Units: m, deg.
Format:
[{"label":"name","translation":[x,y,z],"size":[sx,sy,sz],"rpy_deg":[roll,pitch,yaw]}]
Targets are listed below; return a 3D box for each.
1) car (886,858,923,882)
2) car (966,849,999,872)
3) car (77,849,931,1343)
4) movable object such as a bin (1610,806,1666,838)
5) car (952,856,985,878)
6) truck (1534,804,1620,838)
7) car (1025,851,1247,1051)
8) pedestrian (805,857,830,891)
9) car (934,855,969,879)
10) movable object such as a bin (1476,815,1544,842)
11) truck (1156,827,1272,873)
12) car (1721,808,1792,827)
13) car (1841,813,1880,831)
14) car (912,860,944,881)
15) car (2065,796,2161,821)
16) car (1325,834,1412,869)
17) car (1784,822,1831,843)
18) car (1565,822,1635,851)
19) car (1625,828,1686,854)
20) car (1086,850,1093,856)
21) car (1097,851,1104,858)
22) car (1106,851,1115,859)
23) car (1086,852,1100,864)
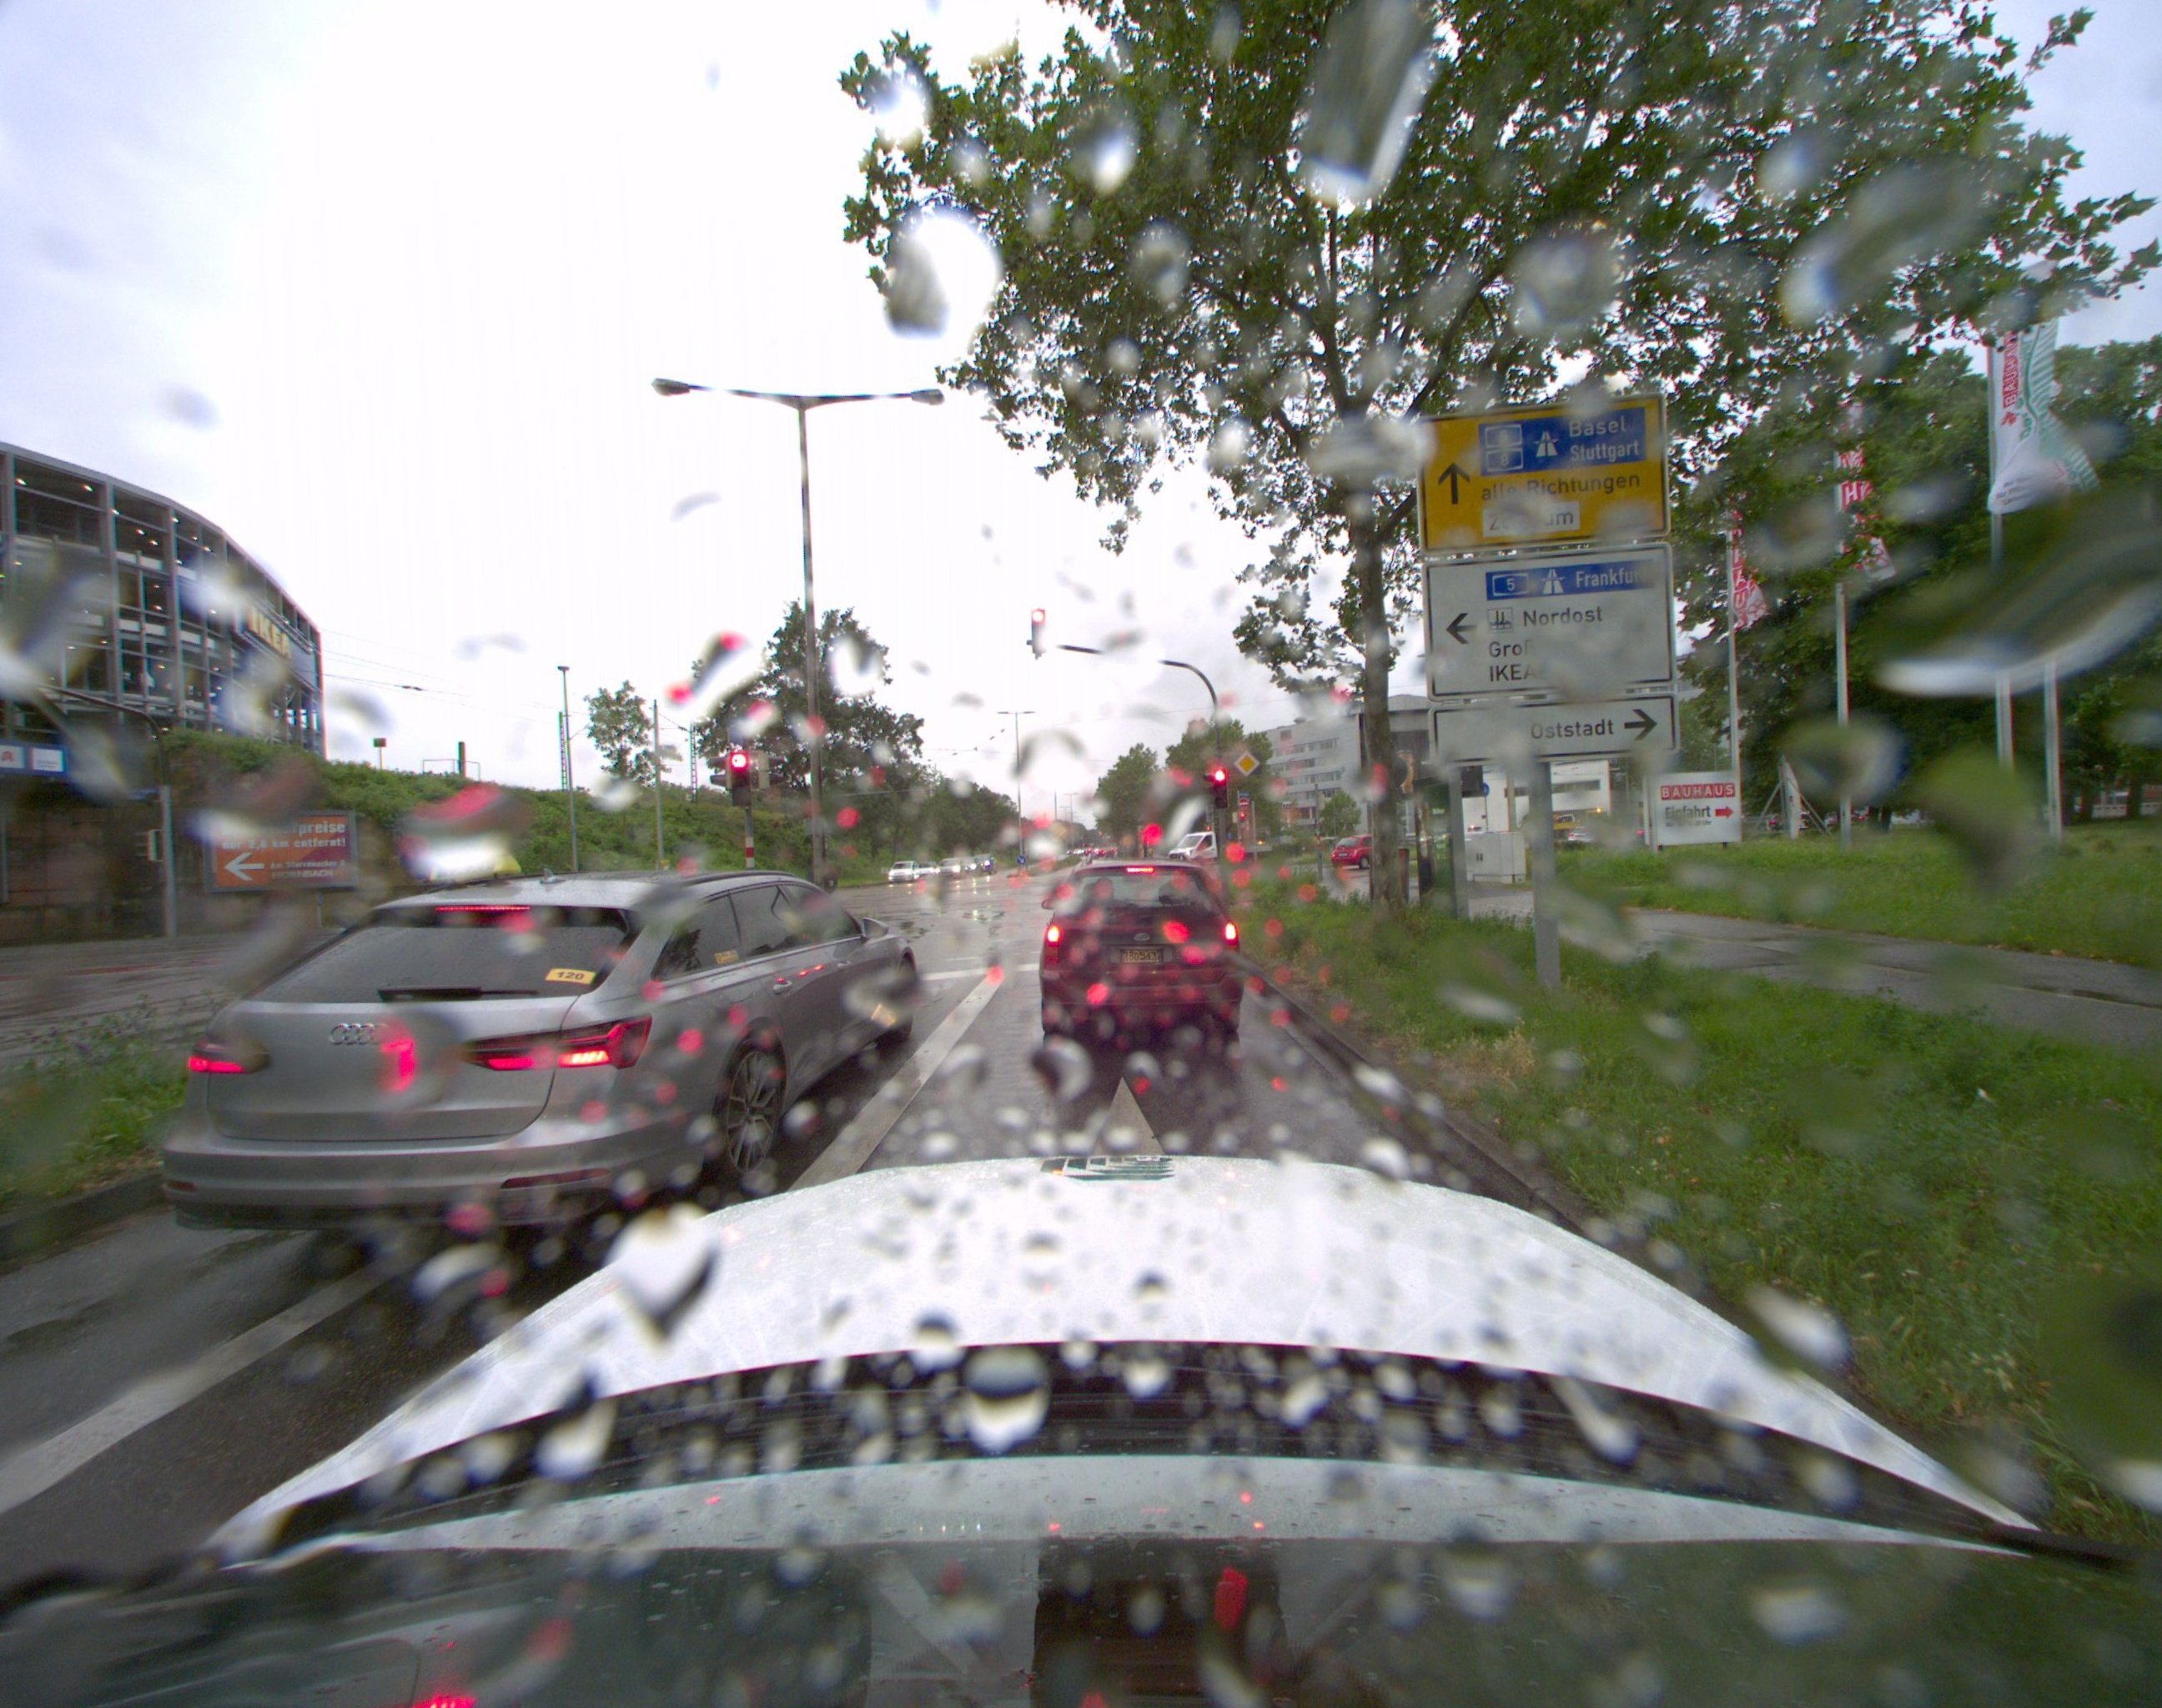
[{"label":"car","translation":[-11.982,1.062,55.553],"size":[1.633,1.452,3.786],"rpy_deg":[-3,0,0]},{"label":"car","translation":[-8.646,0.520,71.706],"size":[2.058,1.819,5.542],"rpy_deg":[-3,0,1]},{"label":"car","translation":[-2.295,0.764,5.024],"size":[1.763,1.574,4.822],"rpy_deg":[0,0,1]},{"label":"movable object such as a bin","translation":[66.845,-3.836,97.648],"size":[6.347,3.507,3.293],"rpy_deg":[-3,0,-34]},{"label":"car","translation":[-8.738,0.992,63.635],"size":[1.756,1.586,4.813],"rpy_deg":[-3,-1,0]},{"label":"truck","translation":[57.968,-3.826,95.379],"size":[3.342,3.507,7.806],"rpy_deg":[-3,0,-33]},{"label":"car","translation":[0.441,0.716,7.927],"size":[1.636,1.465,3.733],"rpy_deg":[0,0,1]},{"label":"pedestrian","translation":[-14.956,1.105,46.205],"size":[1.102,1.847,1.126],"rpy_deg":[-3,0,-10]},{"label":"car","translation":[-8.952,0.872,56.526],"size":[1.632,1.473,3.966],"rpy_deg":[-3,0,1]},{"label":"movable object such as a bin","translation":[53.770,-3.175,102.161],"size":[3.342,2.995,6.650],"rpy_deg":[-3,0,-34]},{"label":"truck","translation":[7.846,-0.255,47.639],"size":[6.896,2.365,2.456],"rpy_deg":[-3,0,-35]},{"label":"car","translation":[66.516,-3.569,80.262],"size":[1.888,1.655,5.007],"rpy_deg":[0,-1,-33]},{"label":"car","translation":[79.432,-3.265,82.976],"size":[4.645,1.586,1.907],"rpy_deg":[-2,-1,-34]},{"label":"car","translation":[-11.579,1.221,61.873],"size":[1.585,1.404,3.823],"rpy_deg":[-3,0,1]},{"label":"car","translation":[88.534,-3.900,69.305],"size":[2.286,1.731,5.899],"rpy_deg":[-3,0,-33]},{"label":"car","translation":[13.221,-0.135,37.434],"size":[3.829,1.491,1.662],"rpy_deg":[-2,0,-31]},{"label":"car","translation":[62.668,-1.870,70.239],"size":[4.645,1.586,1.907],"rpy_deg":[-2,-1,-34]},{"label":"car","translation":[32.024,-1.104,50.250],"size":[4.644,1.586,1.907],"rpy_deg":[-2,0,-34]},{"label":"car","translation":[39.181,-0.914,55.504],"size":[4.645,1.586,1.906],"rpy_deg":[-2,-1,-35]},{"label":"car","translation":[2.109,-0.197,202.710],"size":[1.691,1.528,3.849],"rpy_deg":[-3,0,3]},{"label":"car","translation":[4.646,0.165,194.174],"size":[1.691,1.528,3.849],"rpy_deg":[-3,0,3]},{"label":"car","translation":[6.010,0.123,166.336],"size":[1.664,1.528,3.849],"rpy_deg":[-3,0,3]},{"label":"car","translation":[1.853,0.638,126.102],"size":[1.987,1.790,3.999],"rpy_deg":[0,-1,-1]}]
